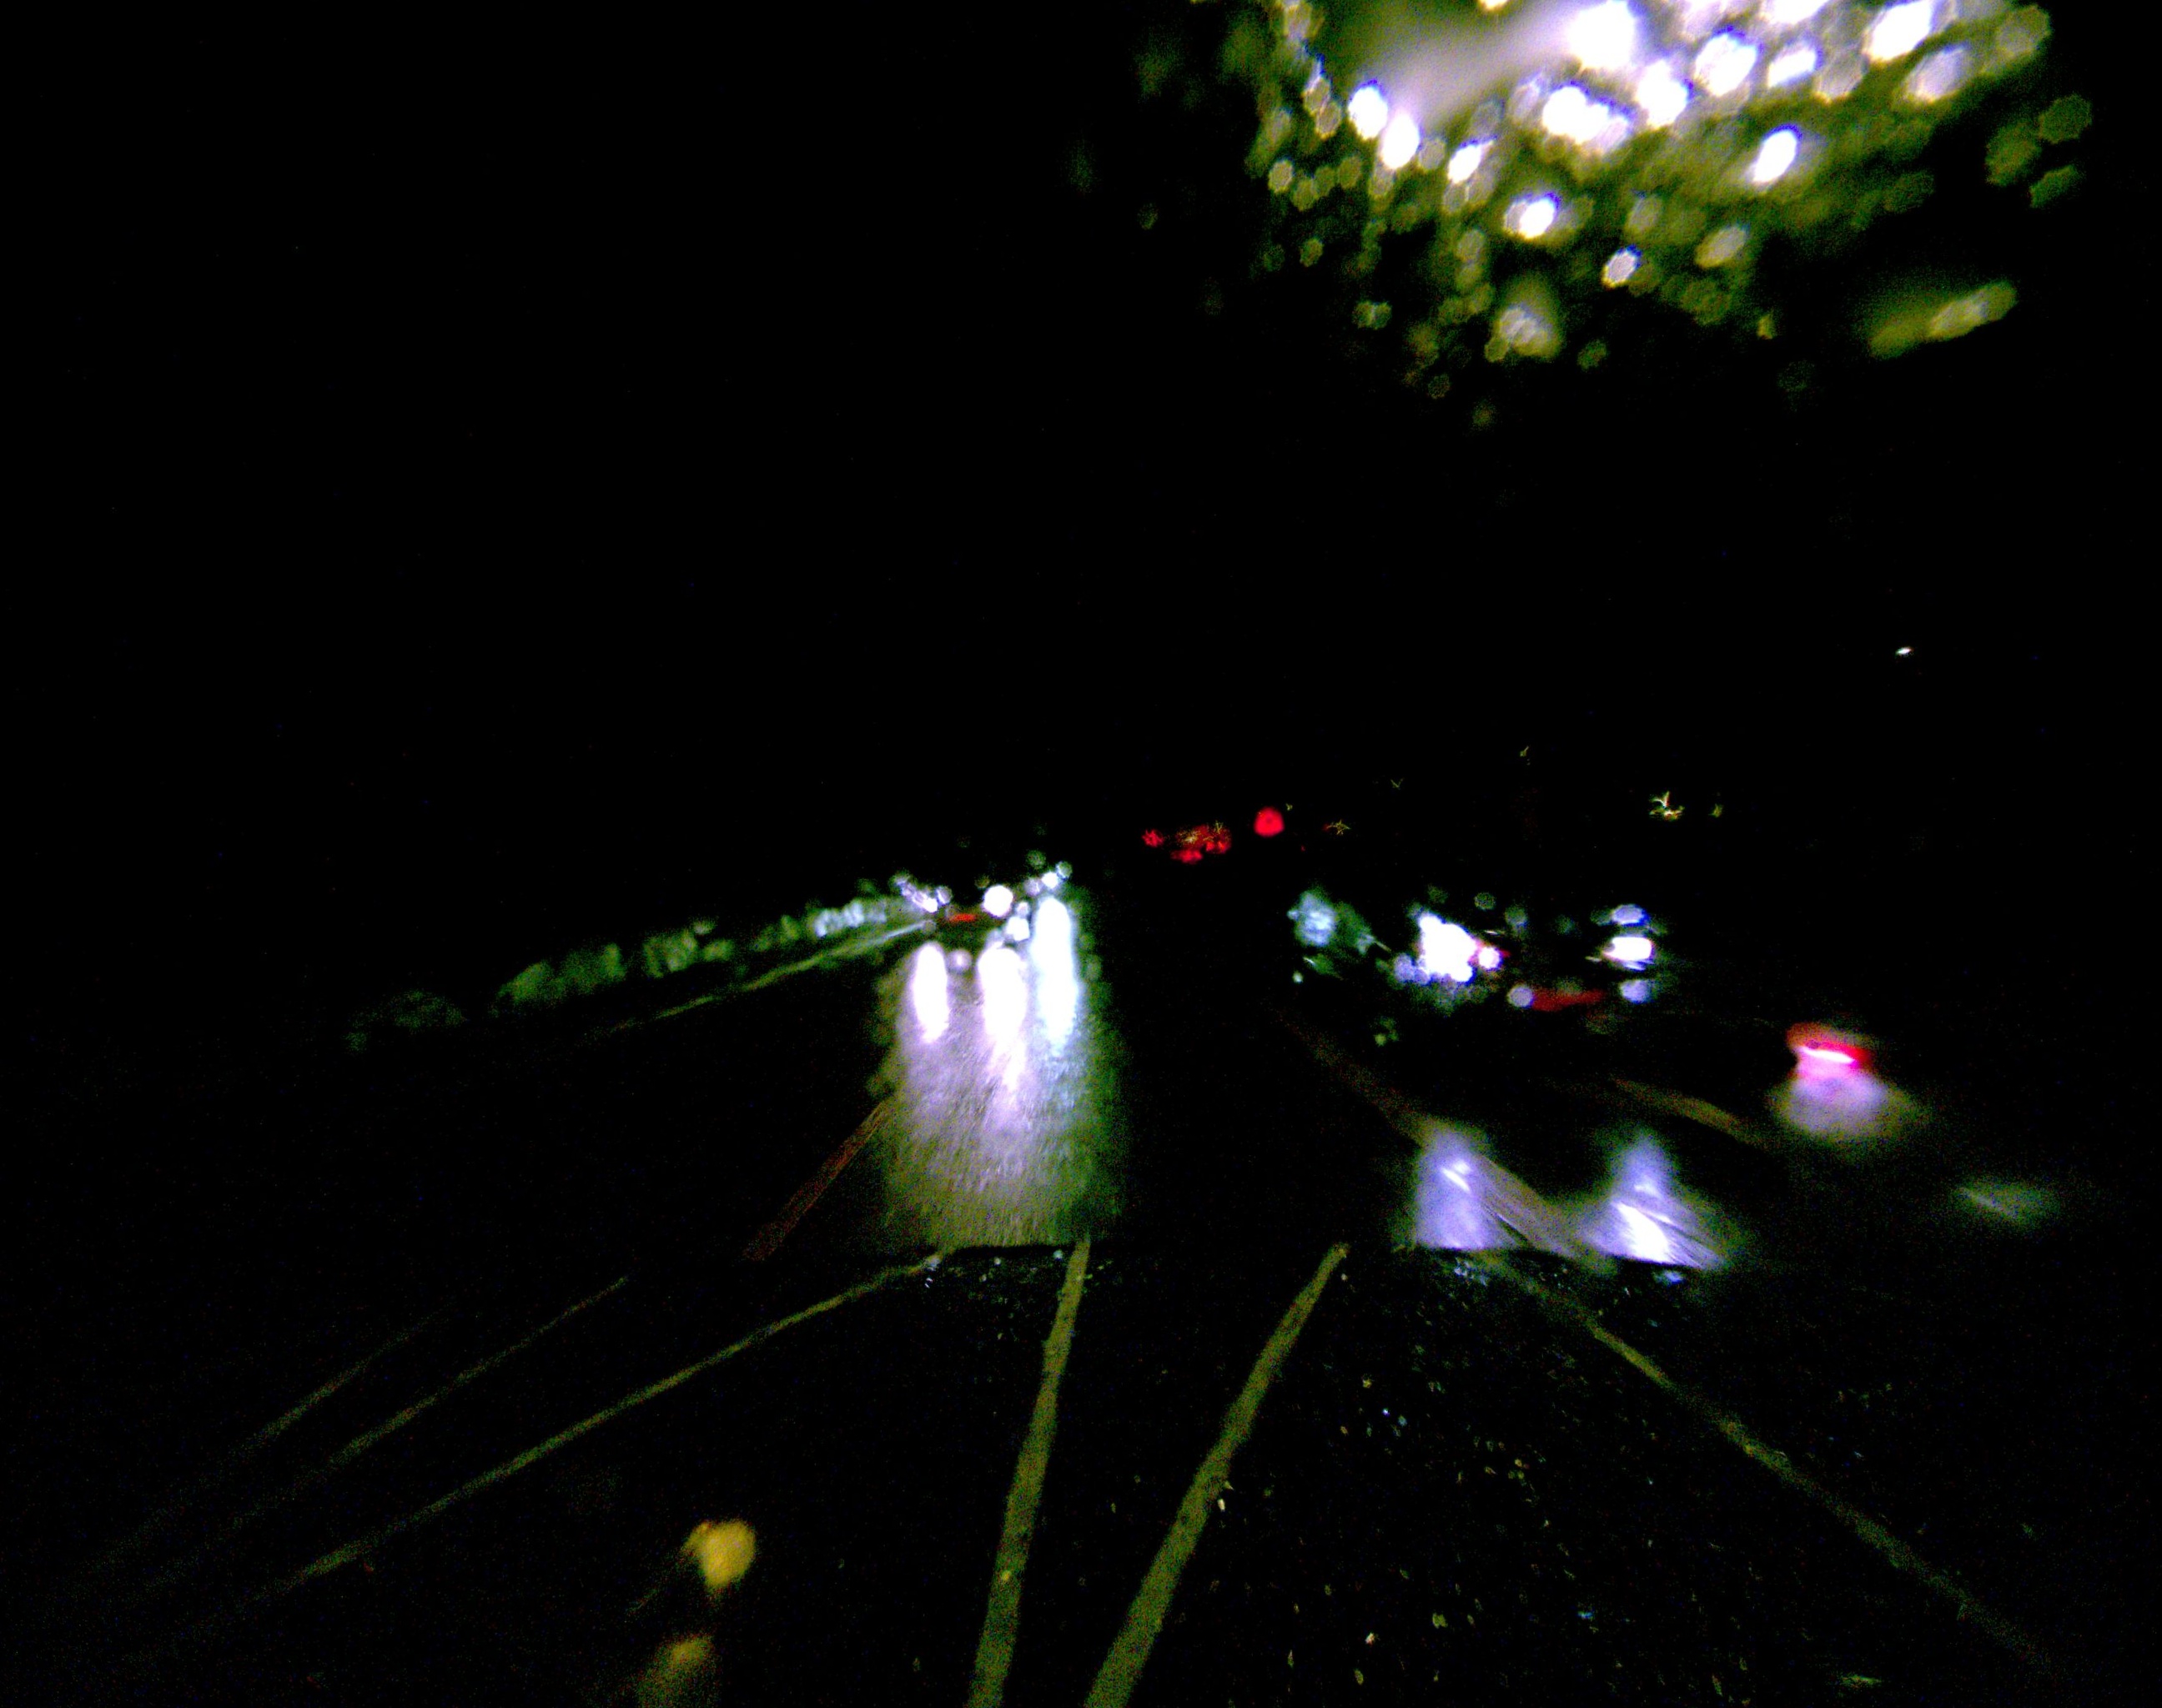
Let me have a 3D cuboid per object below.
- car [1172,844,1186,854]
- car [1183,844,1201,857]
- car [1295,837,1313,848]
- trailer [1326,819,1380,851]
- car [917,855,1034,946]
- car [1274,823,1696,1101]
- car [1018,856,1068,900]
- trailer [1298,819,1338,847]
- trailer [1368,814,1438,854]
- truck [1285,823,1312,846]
[{"bbox_3d":[15.899,-0.818,123.238,1.806,1.579,4.031,-3,1,2],"label":"car"},{"bbox_3d":[15.172,-0.524,103.838,1.765,1.632,4.652,-3,0,1],"label":"car"},{"bbox_3d":[36.158,-1.847,123.111,1.790,1.684,4.219,-4,0,3],"label":"car"},{"bbox_3d":[44.350,-3.148,124.673,3.980,4.583,15.516,-6,1,4],"label":"trailer"},{"bbox_3d":[-2.197,0.921,17.017,1.790,1.684,4.219,-2,0,2],"label":"car"},{"bbox_3d":[3.177,0.707,7.159,1.788,1.771,4.437,-2,0,3],"label":"car"},{"bbox_3d":[-1.520,0.944,31.845,1.788,1.638,4.436,-3,0,1],"label":"car"},{"bbox_3d":[46.800,-4.160,150.651,3.980,4.984,14.836,-6,1,4],"label":"trailer"},{"bbox_3d":[43.135,-2.671,102.686,3.980,4.583,14.248,-6,1,4],"label":"trailer"},{"bbox_3d":[47.955,-4.337,167.746,3.447,4.584,10.213,-6,1,4],"label":"truck"}]
